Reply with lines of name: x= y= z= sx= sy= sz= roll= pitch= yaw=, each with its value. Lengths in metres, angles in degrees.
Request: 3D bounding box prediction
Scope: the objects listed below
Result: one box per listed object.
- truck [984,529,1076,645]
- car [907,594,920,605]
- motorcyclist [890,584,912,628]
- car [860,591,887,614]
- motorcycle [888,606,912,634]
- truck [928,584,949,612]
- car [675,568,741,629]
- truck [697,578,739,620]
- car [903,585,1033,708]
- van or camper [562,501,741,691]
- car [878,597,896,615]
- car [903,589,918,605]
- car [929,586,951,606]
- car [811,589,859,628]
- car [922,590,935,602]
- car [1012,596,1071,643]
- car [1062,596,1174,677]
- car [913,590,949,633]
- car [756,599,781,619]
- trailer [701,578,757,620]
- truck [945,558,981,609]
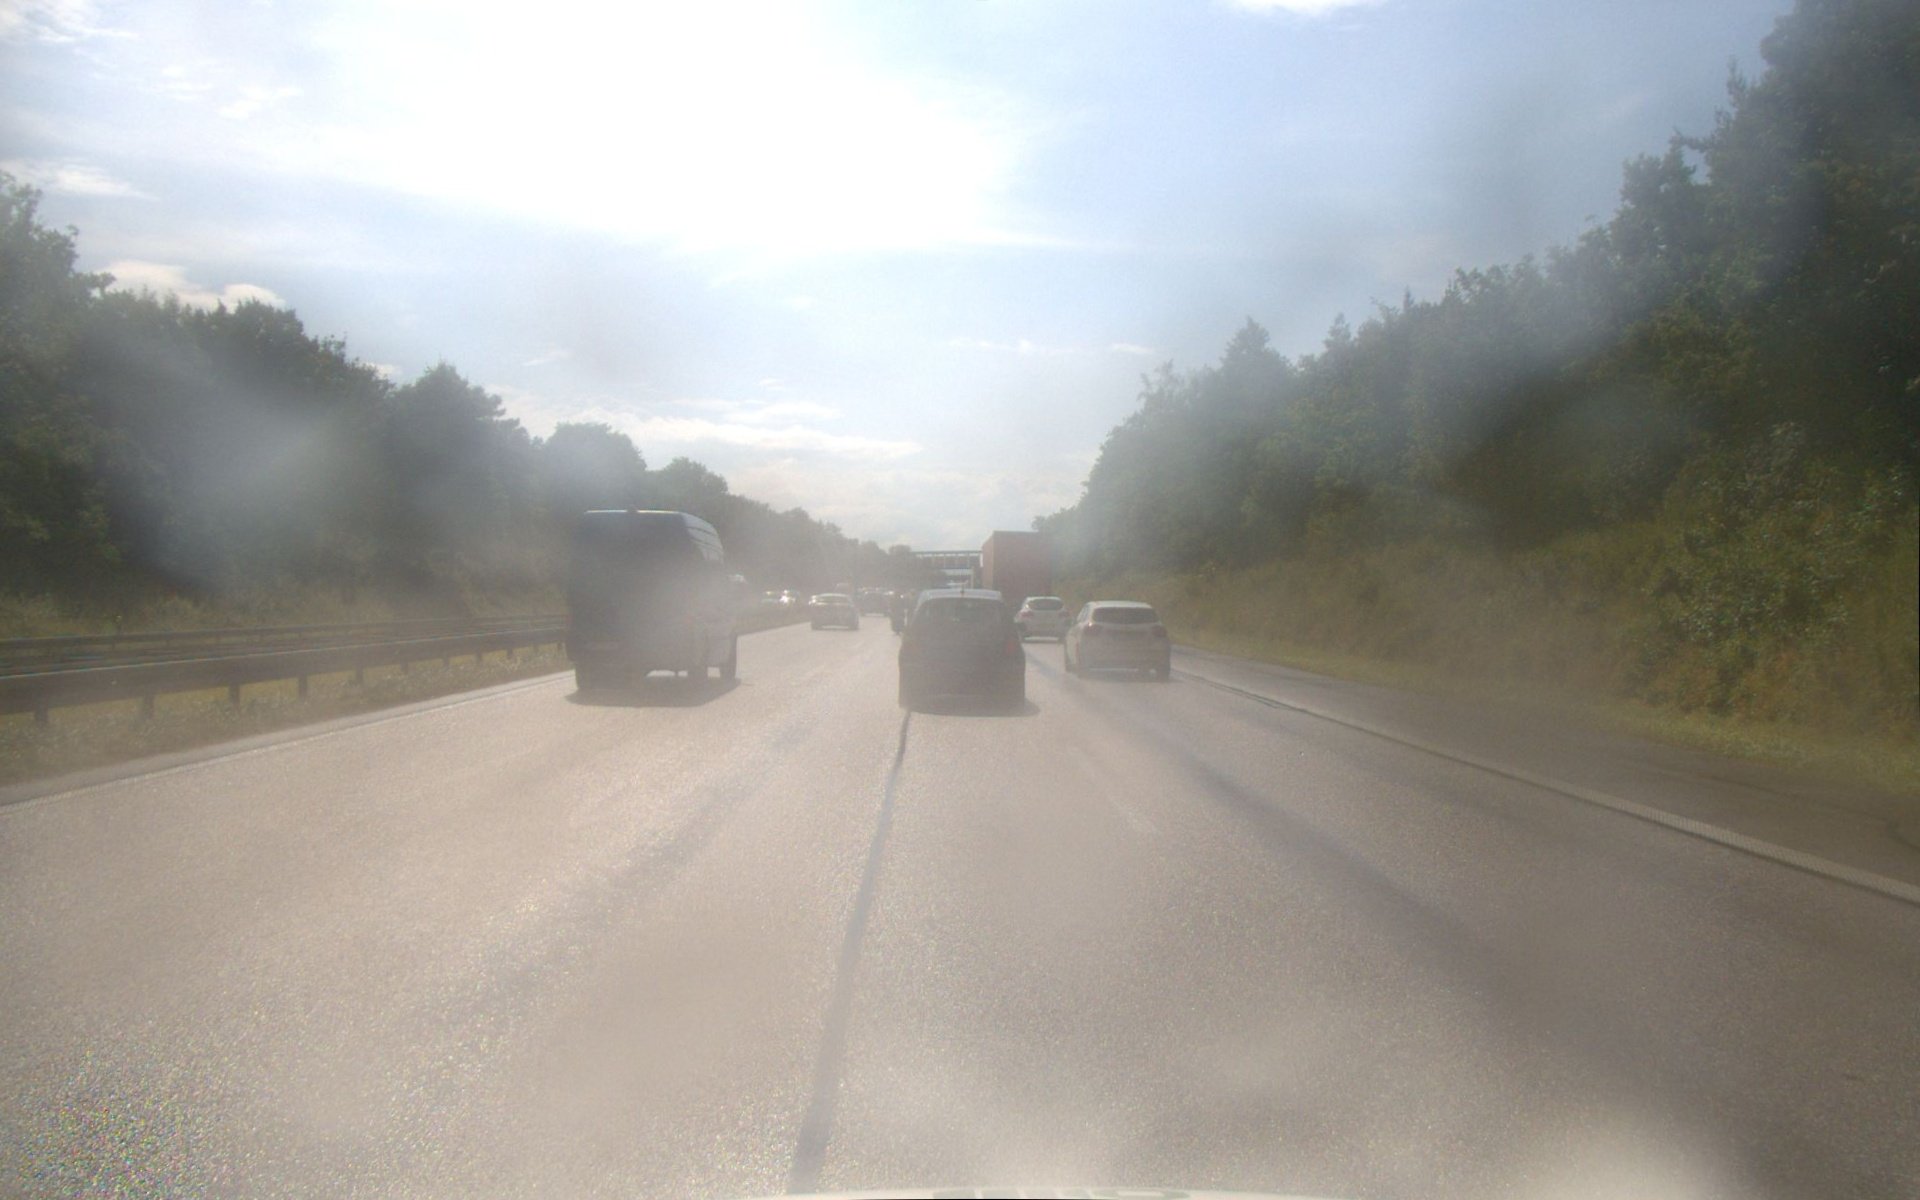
truck: x=3.058 y=-0.532 z=77.805 sx=3.575 sy=4.803 sz=16.778 roll=1 pitch=0 yaw=0
car: x=-5.385 y=-0.033 z=190.474 sx=1.518 sy=1.289 sz=3.483 roll=1 pitch=0 yaw=-2
motorcyclist: x=-2.230 y=0.230 z=62.451 sx=0.785 sy=1.662 sz=1.013 roll=1 pitch=0 yaw=-2
car: x=-5.823 y=0.184 z=111.434 sx=1.716 sy=1.482 sz=3.388 roll=1 pitch=0 yaw=-2
motorcycle: x=-2.254 y=0.758 z=62.493 sx=0.873 sy=1.018 sz=2.895 roll=1 pitch=0 yaw=-2
truck: x=-2.251 y=-0.206 z=172.304 sx=2.148 sy=2.926 sz=4.848 roll=1 pitch=0 yaw=-2
car: x=-10.918 y=-0.068 z=72.081 sx=2.139 sy=2.495 sz=5.746 roll=1 pitch=0 yaw=-2
truck: x=-23.134 y=-0.117 z=158.295 sx=2.929 sy=3.898 sz=6.864 roll=1 pitch=0 yaw=0
car: x=0.062 y=0.612 z=23.447 sx=1.683 sy=1.595 sz=3.483 roll=1 pitch=0 yaw=-2
van or camper: x=-4.797 y=-0.055 z=26.504 sx=1.953 sy=2.715 sz=5.383 roll=1 pitch=0 yaw=-2
car: x=-6.097 y=0.487 z=138.648 sx=1.431 sy=1.418 sz=3.310 roll=1 pitch=0 yaw=-2
car: x=-6.356 y=-0.384 z=212.527 sx=1.953 sy=2.049 sz=3.999 roll=0 pitch=0 yaw=-1
car: x=-1.479 y=-0.254 z=119.914 sx=1.521 sy=1.407 sz=3.209 roll=1 pitch=0 yaw=-2
car: x=-5.230 y=0.347 z=69.358 sx=1.817 sy=1.578 sz=3.483 roll=1 pitch=0 yaw=-2
car: x=-4.944 y=-0.639 z=256.590 sx=1.953 sy=1.759 sz=3.999 roll=0 pitch=0 yaw=-1
car: x=2.705 y=0.633 z=55.347 sx=1.646 sy=1.467 sz=3.903 roll=1 pitch=0 yaw=-2
car: x=3.038 y=0.671 z=32.474 sx=1.658 sy=1.450 sz=4.218 roll=1 pitch=0 yaw=-2
car: x=-1.284 y=0.485 z=71.457 sx=1.500 sy=1.777 sz=3.483 roll=1 pitch=0 yaw=-2
car: x=-19.220 y=0.879 z=166.382 sx=1.830 sy=1.980 sz=5.042 roll=1 pitch=0 yaw=1
trailer: x=-23.112 y=-0.105 z=166.265 sx=2.929 sy=3.898 sz=17.952 roll=1 pitch=0 yaw=0
truck: x=0.263 y=-1.476 z=153.948 sx=3.189 sy=4.558 sz=12.420 roll=1 pitch=0 yaw=0
